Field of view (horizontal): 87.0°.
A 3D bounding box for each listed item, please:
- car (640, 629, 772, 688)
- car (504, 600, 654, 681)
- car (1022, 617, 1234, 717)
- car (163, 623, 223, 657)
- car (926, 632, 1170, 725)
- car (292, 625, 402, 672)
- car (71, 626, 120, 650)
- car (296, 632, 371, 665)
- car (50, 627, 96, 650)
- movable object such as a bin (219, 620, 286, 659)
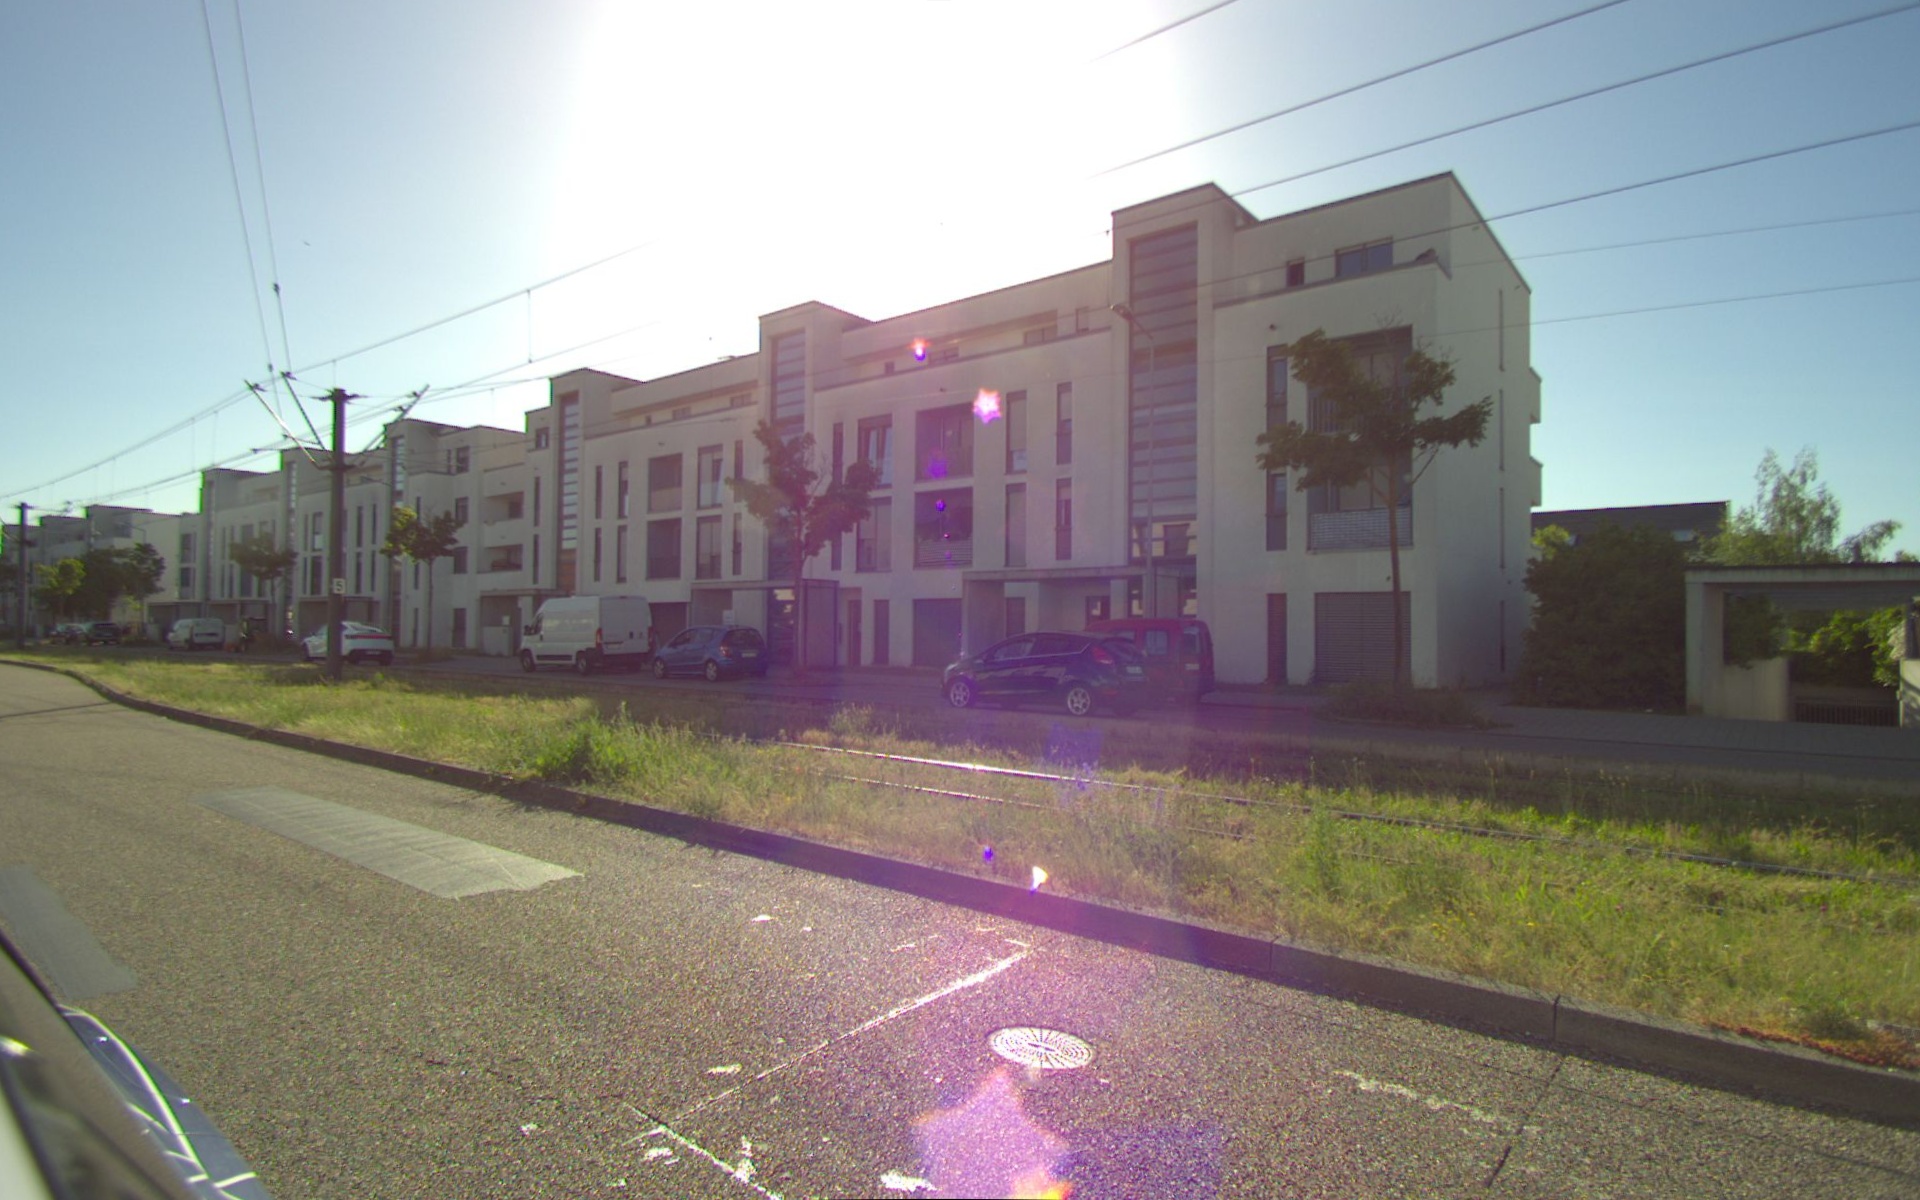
[{"bbox_3d":[-7.326,1.620,29.062,3.839,1.548,1.805,-2,-1,41],"label":"car"},{"bbox_3d":[-12.703,1.313,33.530,5.583,2.463,2.119,-2,-1,39],"label":"car"},{"bbox_3d":[3.352,1.286,20.575,3.836,1.809,1.861,-2,-1,41],"label":"car"},{"bbox_3d":[-44.672,2.315,58.915,4.149,1.884,1.745,-2,-1,37],"label":"car"},{"bbox_3d":[1.460,1.313,17.710,3.998,1.429,1.769,-2,-4,42],"label":"car"},{"bbox_3d":[-22.956,1.812,37.862,4.641,1.608,1.974,-2,-5,39],"label":"car"},{"bbox_3d":[-60.430,2.667,70.740,4.149,1.611,1.745,-2,-1,37],"label":"car"},{"bbox_3d":[-28.715,2.204,46.339,4.149,1.443,1.503,-2,-1,37],"label":"car"},{"bbox_3d":[-64.960,2.816,74.096,4.149,1.611,1.745,-2,-1,37],"label":"car"},{"bbox_3d":[-37.937,2.096,54.227,4.149,1.952,1.745,-2,-1,37],"label":"movable object such as a bin"}]
